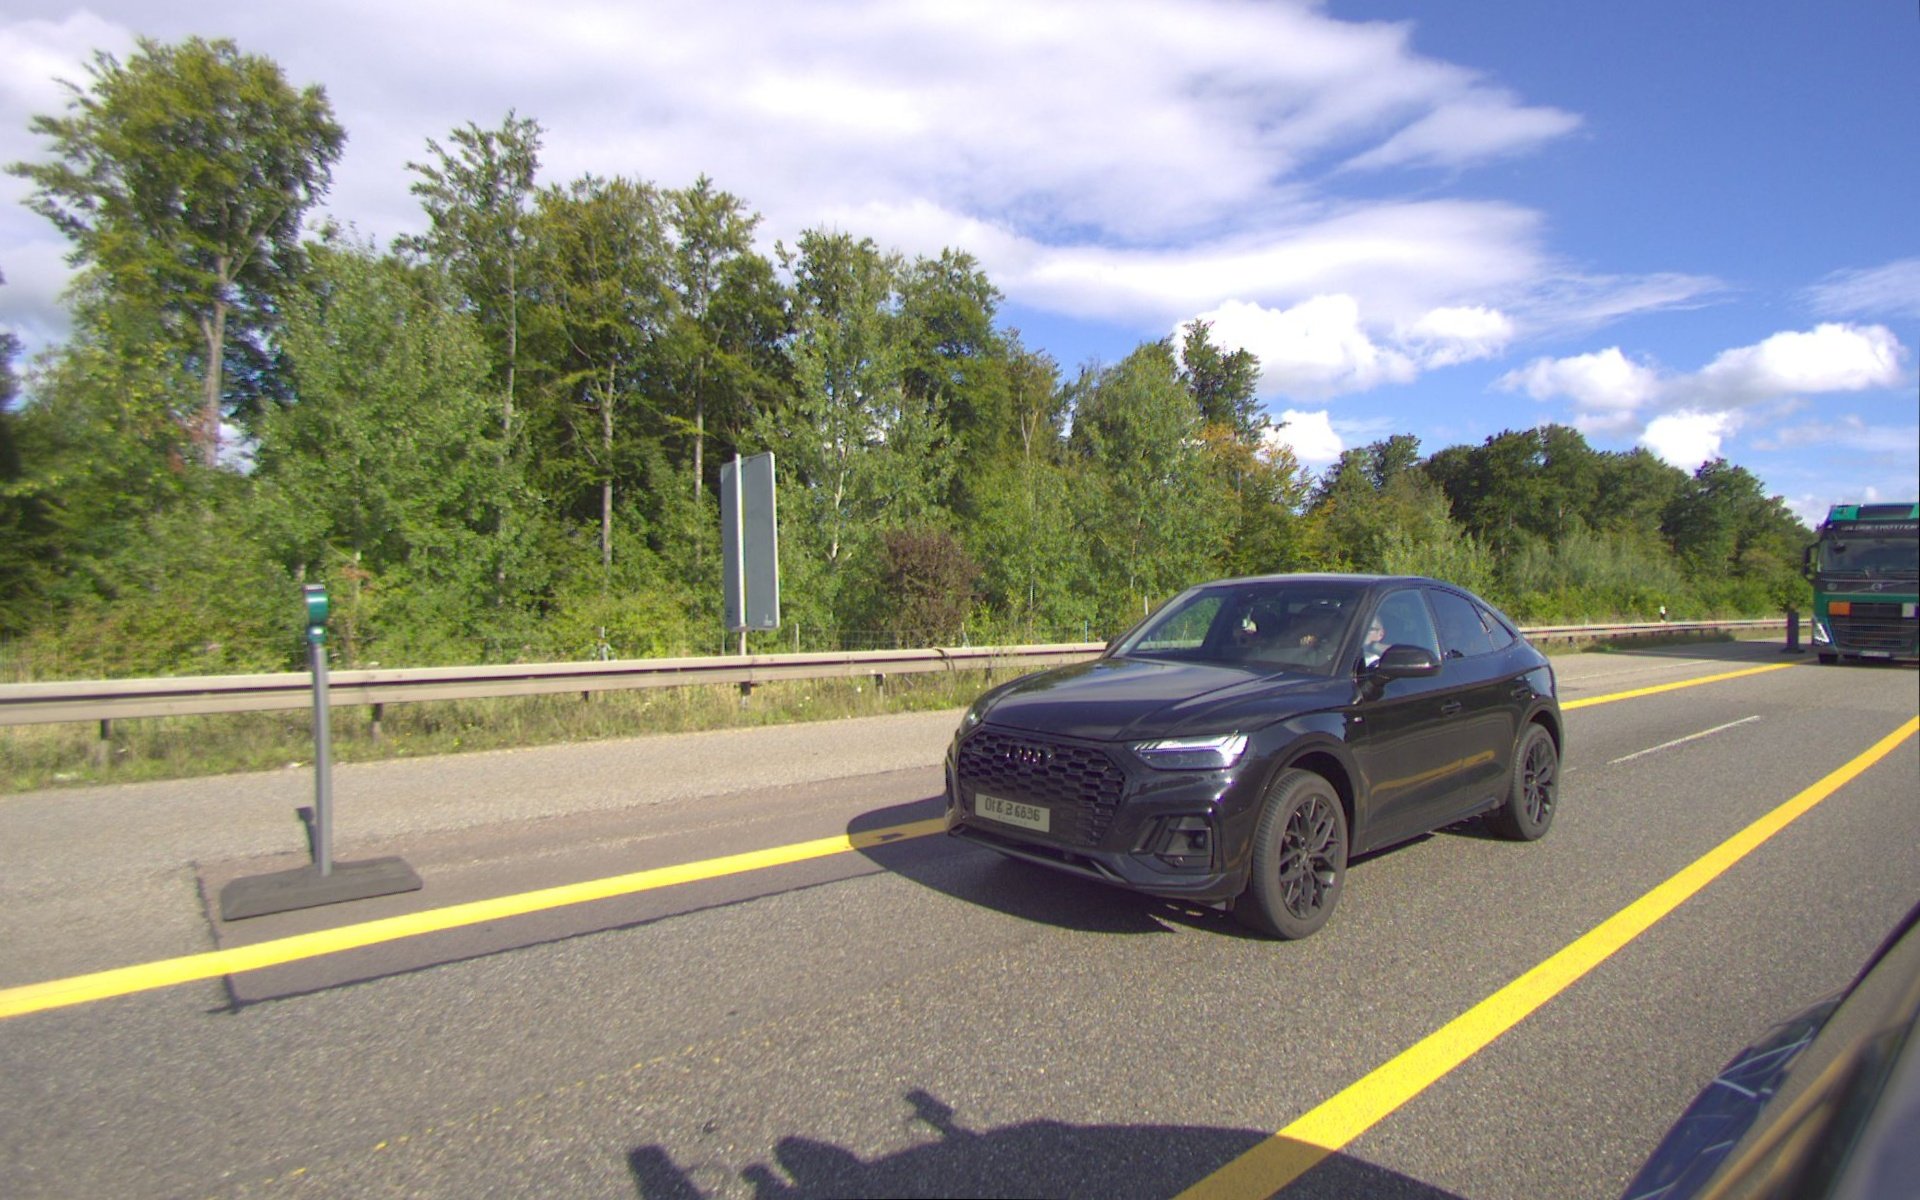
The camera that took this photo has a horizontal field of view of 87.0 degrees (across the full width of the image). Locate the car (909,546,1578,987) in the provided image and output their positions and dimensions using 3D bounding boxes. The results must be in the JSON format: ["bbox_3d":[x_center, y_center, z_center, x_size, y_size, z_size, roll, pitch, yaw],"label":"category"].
[{"bbox_3d":[1.885,0.596,5.825,4.221,1.623,1.780,0,0,-43],"label":"car"}]

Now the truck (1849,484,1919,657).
[{"bbox_3d":[28.571,-0.669,29.047,13.956,4.196,2.469,1,-1,-40],"label":"truck"}]

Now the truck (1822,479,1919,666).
[{"bbox_3d":[23.638,-0.639,24.954,6.734,4.151,2.527,0,0,-40],"label":"truck"}]
